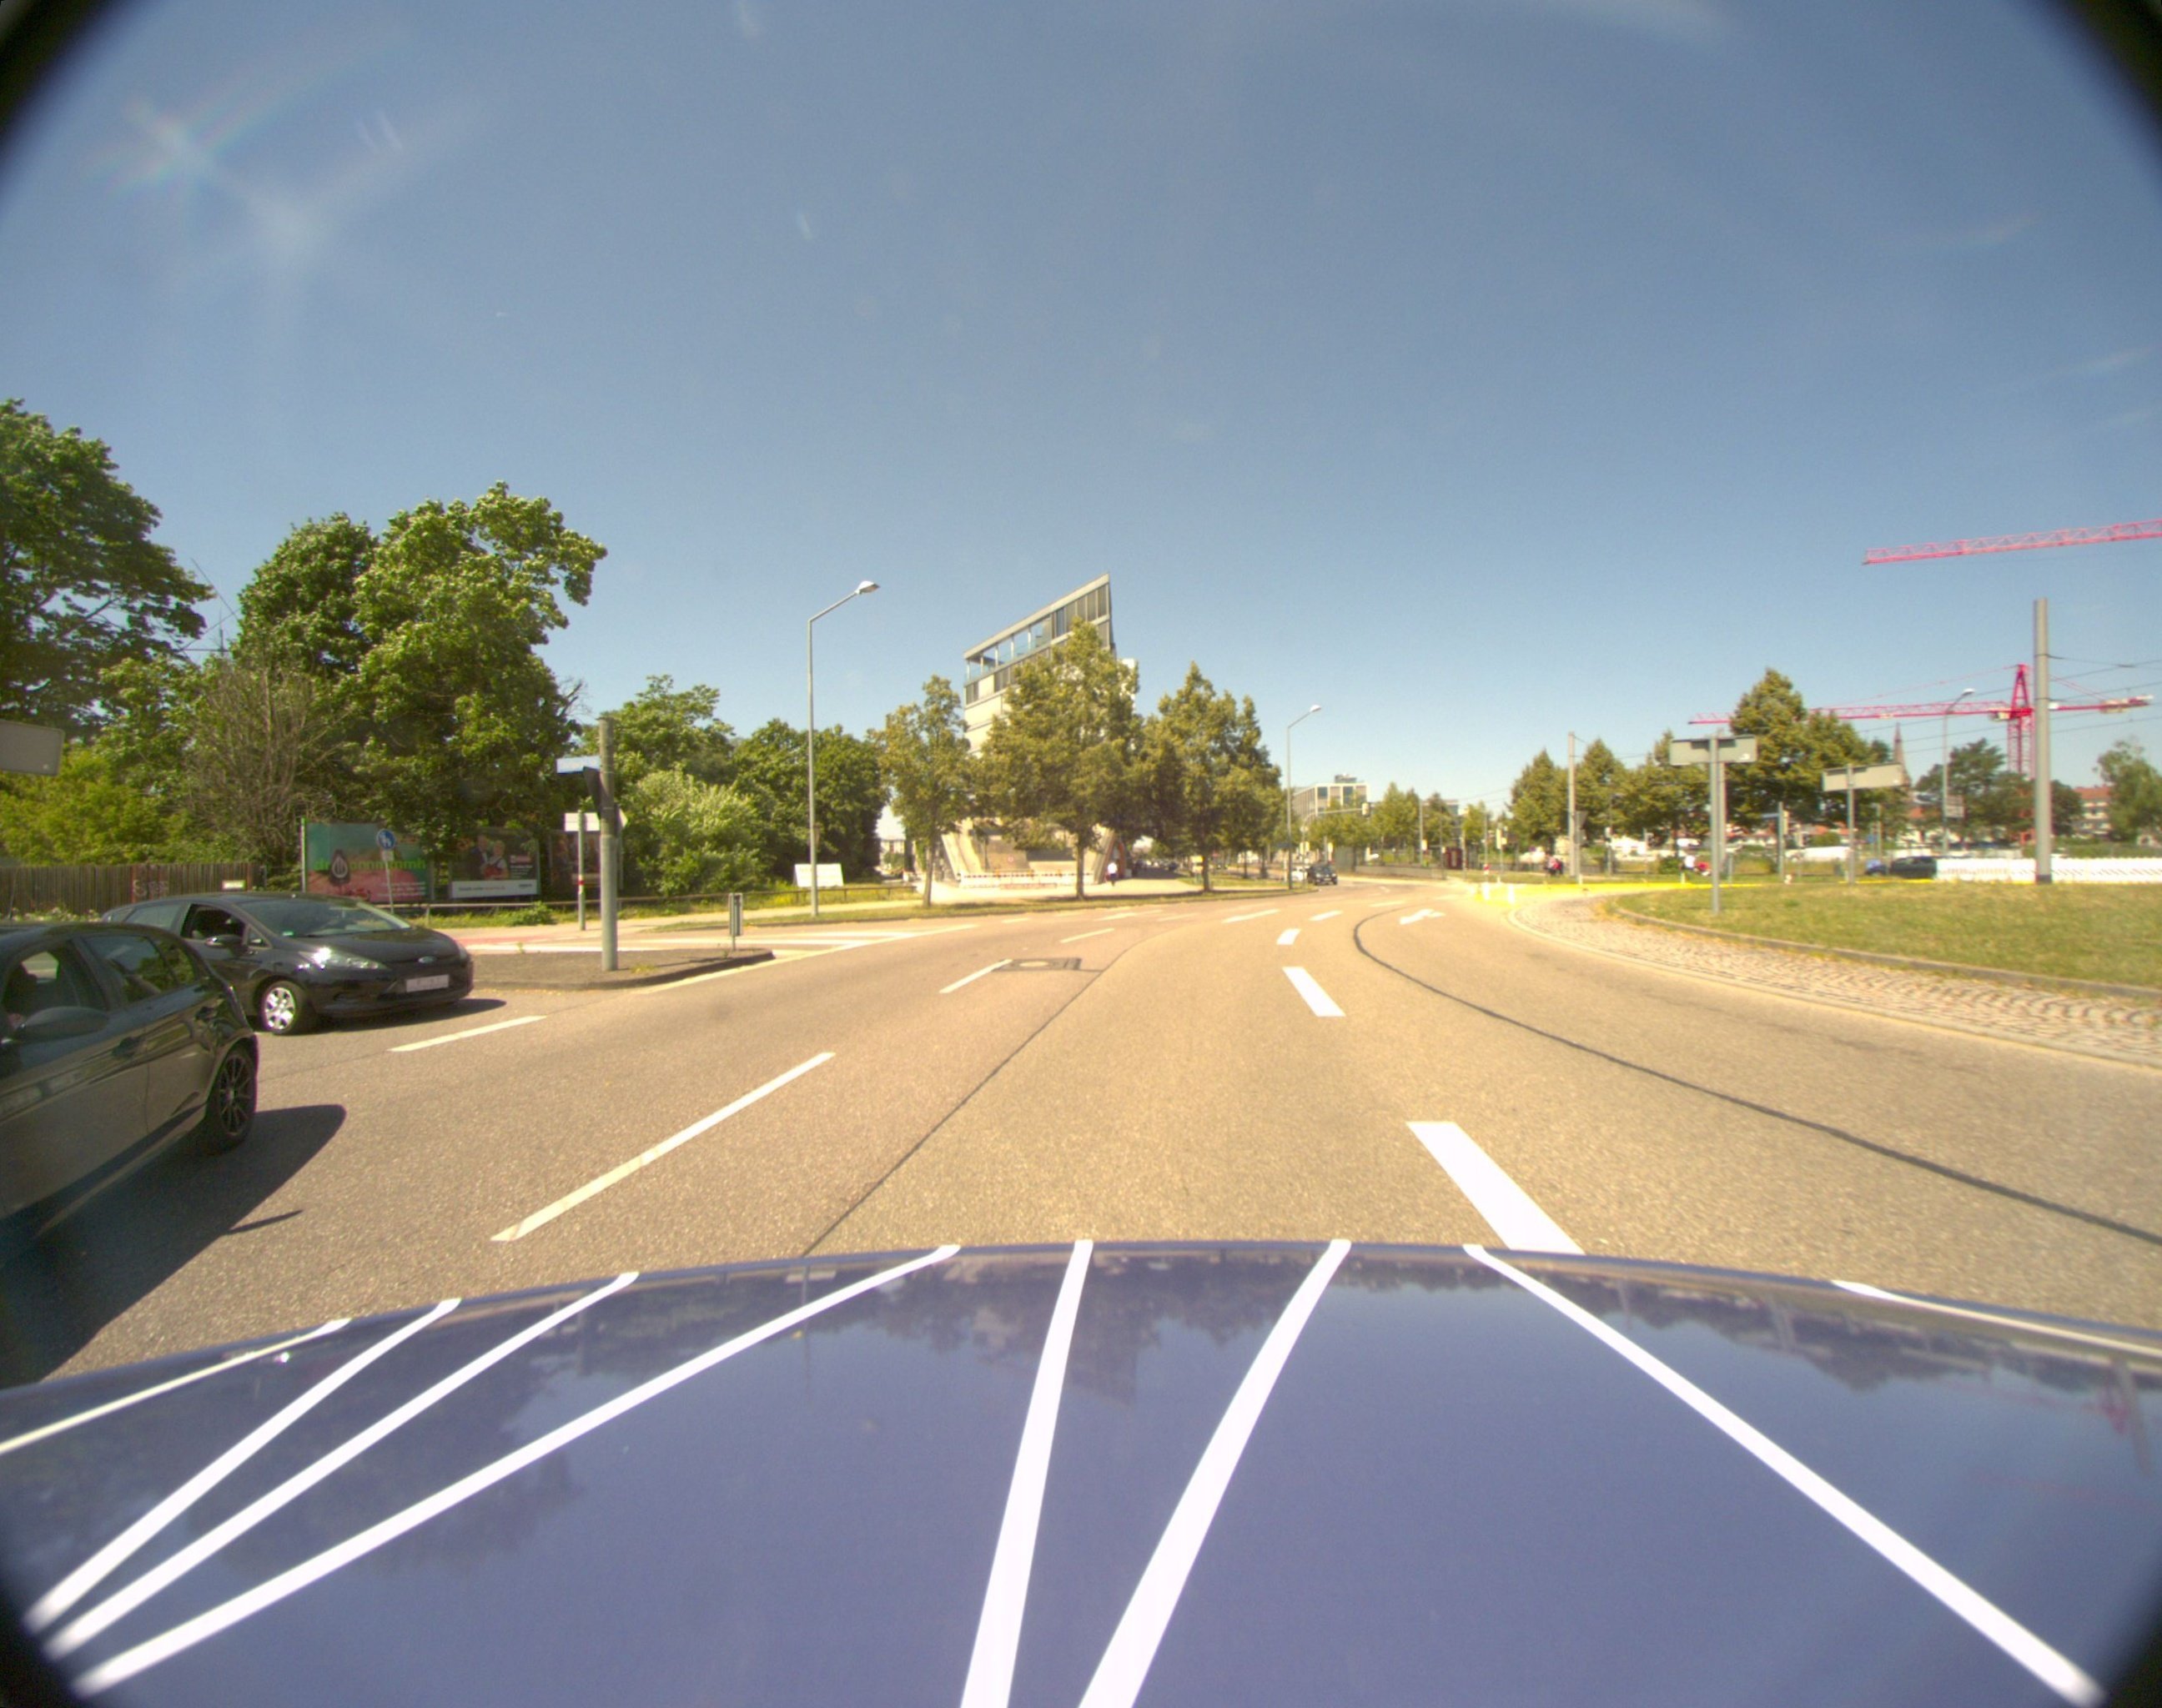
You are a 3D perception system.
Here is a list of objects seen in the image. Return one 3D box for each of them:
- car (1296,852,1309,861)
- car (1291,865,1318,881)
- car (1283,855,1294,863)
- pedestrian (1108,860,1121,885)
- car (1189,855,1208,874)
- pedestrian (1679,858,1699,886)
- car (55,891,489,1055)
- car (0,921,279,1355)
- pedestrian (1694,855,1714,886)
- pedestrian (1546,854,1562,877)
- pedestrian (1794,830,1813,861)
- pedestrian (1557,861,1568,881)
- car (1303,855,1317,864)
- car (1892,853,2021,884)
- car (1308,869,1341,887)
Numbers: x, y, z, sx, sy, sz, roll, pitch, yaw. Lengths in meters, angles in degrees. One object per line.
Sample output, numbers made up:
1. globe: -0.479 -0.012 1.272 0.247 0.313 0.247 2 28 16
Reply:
1. car: 52.601 0.614 180.619 1.998 2.002 3.901 0 1 2
2. car: 18.876 1.587 64.299 1.575 1.218 3.324 0 1 6
3. car: 55.356 1.348 202.946 1.998 2.002 4.000 0 1 5
4. pedestrian: 2.476 1.350 56.491 0.833 1.858 0.612 0 2 17
5. car: 15.748 1.436 102.280 1.998 2.493 4.000 -1 0 1
6. pedestrian: 40.550 1.196 50.683 0.813 1.888 0.733 0 2 15
7. car: -8.955 1.207 8.504 3.812 1.499 1.636 -1 0 14
8. car: -4.928 1.139 2.638 1.805 1.432 3.991 -2 0 -29
9. pedestrian: 41.458 1.100 50.555 0.745 2.002 0.733 0 2 15
10. pedestrian: 33.579 0.814 53.975 0.759 1.630 0.782 0 2 16
11. pedestrian: 47.299 -0.549 49.754 0.594 2.002 0.603 0 2 3
12. pedestrian: 33.542 1.194 52.951 0.596 1.398 0.544 -1 0 25
13. car: 51.592 1.252 171.089 1.998 2.002 3.901 0 1 2
14. car: 45.508 0.716 39.588 2.003 1.456 3.990 -1 2 -27
15. car: 18.688 1.798 58.396 1.739 1.205 3.567 0 1 6
